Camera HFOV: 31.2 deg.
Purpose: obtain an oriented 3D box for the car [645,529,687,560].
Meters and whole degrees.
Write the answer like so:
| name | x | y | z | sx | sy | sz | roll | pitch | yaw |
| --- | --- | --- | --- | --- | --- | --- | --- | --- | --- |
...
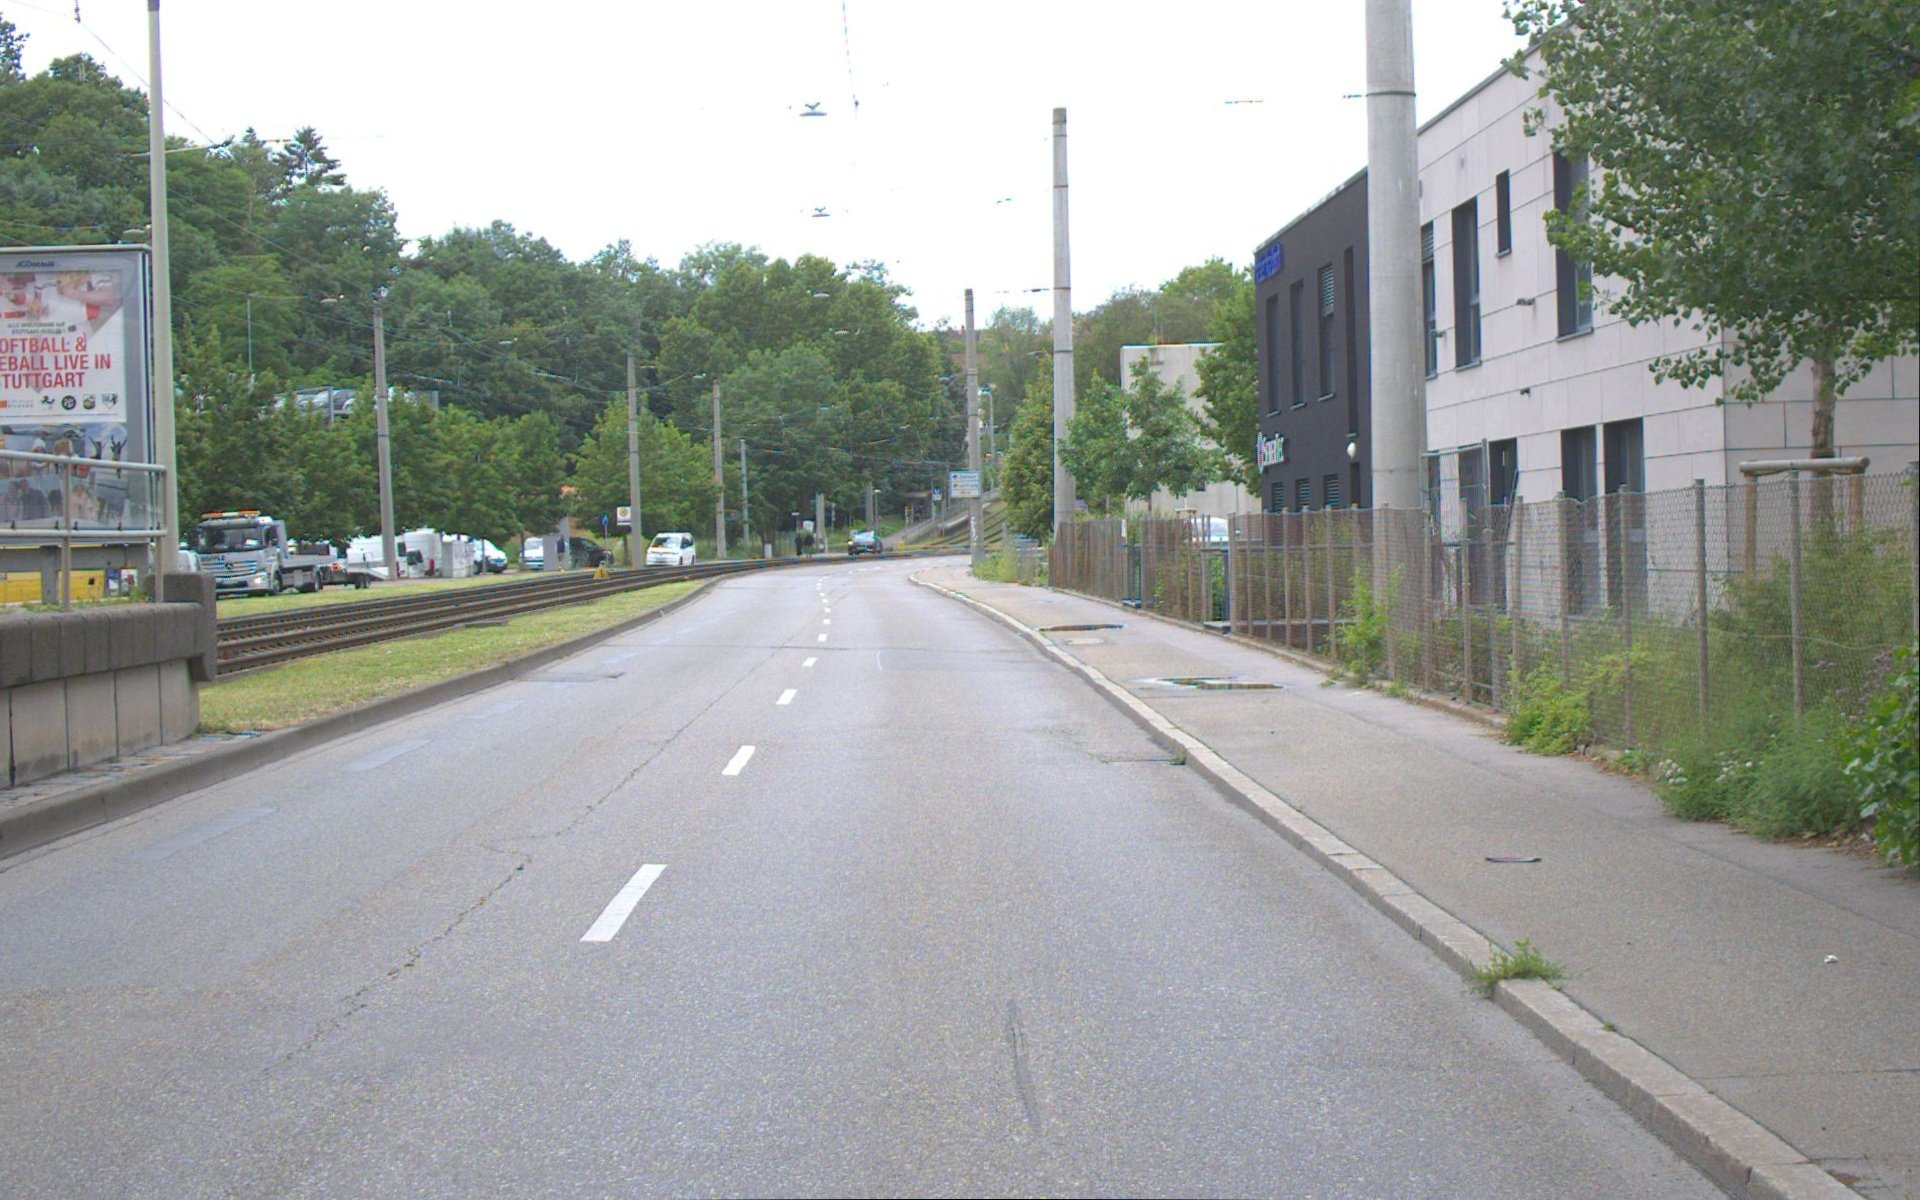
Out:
| name | x | y | z | sx | sy | sz | roll | pitch | yaw |
| --- | --- | --- | --- | --- | --- | --- | --- | --- | --- |
| car | -16.306 | -3.087 | 190.851 | 1.993 | 1.634 | 4.001 | -1 | 2 | -1 |

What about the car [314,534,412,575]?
| name | x | y | z | sx | sy | sz | roll | pitch | yaw |
| --- | --- | --- | --- | --- | --- | --- | --- | --- | --- |
| car | -26.995 | -2.052 | 155.530 | 3.987 | 1.700 | 1.833 | -2 | -2 | 5 |

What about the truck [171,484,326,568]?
| name | x | y | z | sx | sy | sz | roll | pitch | yaw |
| --- | --- | --- | --- | --- | --- | --- | --- | --- | --- |
| truck | -22.878 | -2.403 | 110.916 | 2.884 | 2.580 | 6.910 | -1 | 2 | 6 |

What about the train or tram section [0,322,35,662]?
| name | x | y | z | sx | sy | sz | roll | pitch | yaw |
| --- | --- | --- | --- | --- | --- | --- | --- | --- | --- |
| train or tram section | -11.642 | -1.116 | 34.968 | 1.993 | 3.782 | 9.179 | -1 | 1 | -1 |

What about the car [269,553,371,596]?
| name | x | y | z | sx | sy | sz | roll | pitch | yaw |
| --- | --- | --- | --- | --- | --- | --- | --- | --- | --- |
| car | -27.976 | -1.113 | 150.327 | 3.987 | 1.700 | 1.834 | -2 | 2 | 5 |

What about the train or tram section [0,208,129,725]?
| name | x | y | z | sx | sy | sz | roll | pitch | yaw |
| --- | --- | --- | --- | --- | --- | --- | --- | --- | --- |
| train or tram section | -8.993 | -0.998 | 26.152 | 2.971 | 4.051 | 10.198 | -1 | 2 | -1 |

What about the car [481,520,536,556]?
| name | x | y | z | sx | sy | sz | roll | pitch | yaw |
| --- | --- | --- | --- | --- | --- | --- | --- | --- | --- |
| car | -24.684 | -3.382 | 188.007 | 1.828 | 1.700 | 4.141 | -2 | -2 | 9 |

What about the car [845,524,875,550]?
| name | x | y | z | sx | sy | sz | roll | pitch | yaw |
| --- | --- | --- | --- | --- | --- | --- | --- | --- | --- |
| car | -6.817 | -4.293 | 233.921 | 1.993 | 1.634 | 4.001 | -1 | 2 | -1 |

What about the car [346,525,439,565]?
| name | x | y | z | sx | sy | sz | roll | pitch | yaw |
| --- | --- | --- | --- | --- | --- | --- | --- | --- | --- |
| car | -26.909 | -2.590 | 163.096 | 3.987 | 1.700 | 1.833 | -2 | -2 | 5 |

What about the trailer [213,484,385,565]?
| name | x | y | z | sx | sy | sz | roll | pitch | yaw |
| --- | --- | --- | --- | --- | --- | --- | --- | --- | --- |
| trailer | -22.295 | -2.596 | 116.586 | 2.893 | 2.574 | 9.993 | -1 | 2 | 6 |
